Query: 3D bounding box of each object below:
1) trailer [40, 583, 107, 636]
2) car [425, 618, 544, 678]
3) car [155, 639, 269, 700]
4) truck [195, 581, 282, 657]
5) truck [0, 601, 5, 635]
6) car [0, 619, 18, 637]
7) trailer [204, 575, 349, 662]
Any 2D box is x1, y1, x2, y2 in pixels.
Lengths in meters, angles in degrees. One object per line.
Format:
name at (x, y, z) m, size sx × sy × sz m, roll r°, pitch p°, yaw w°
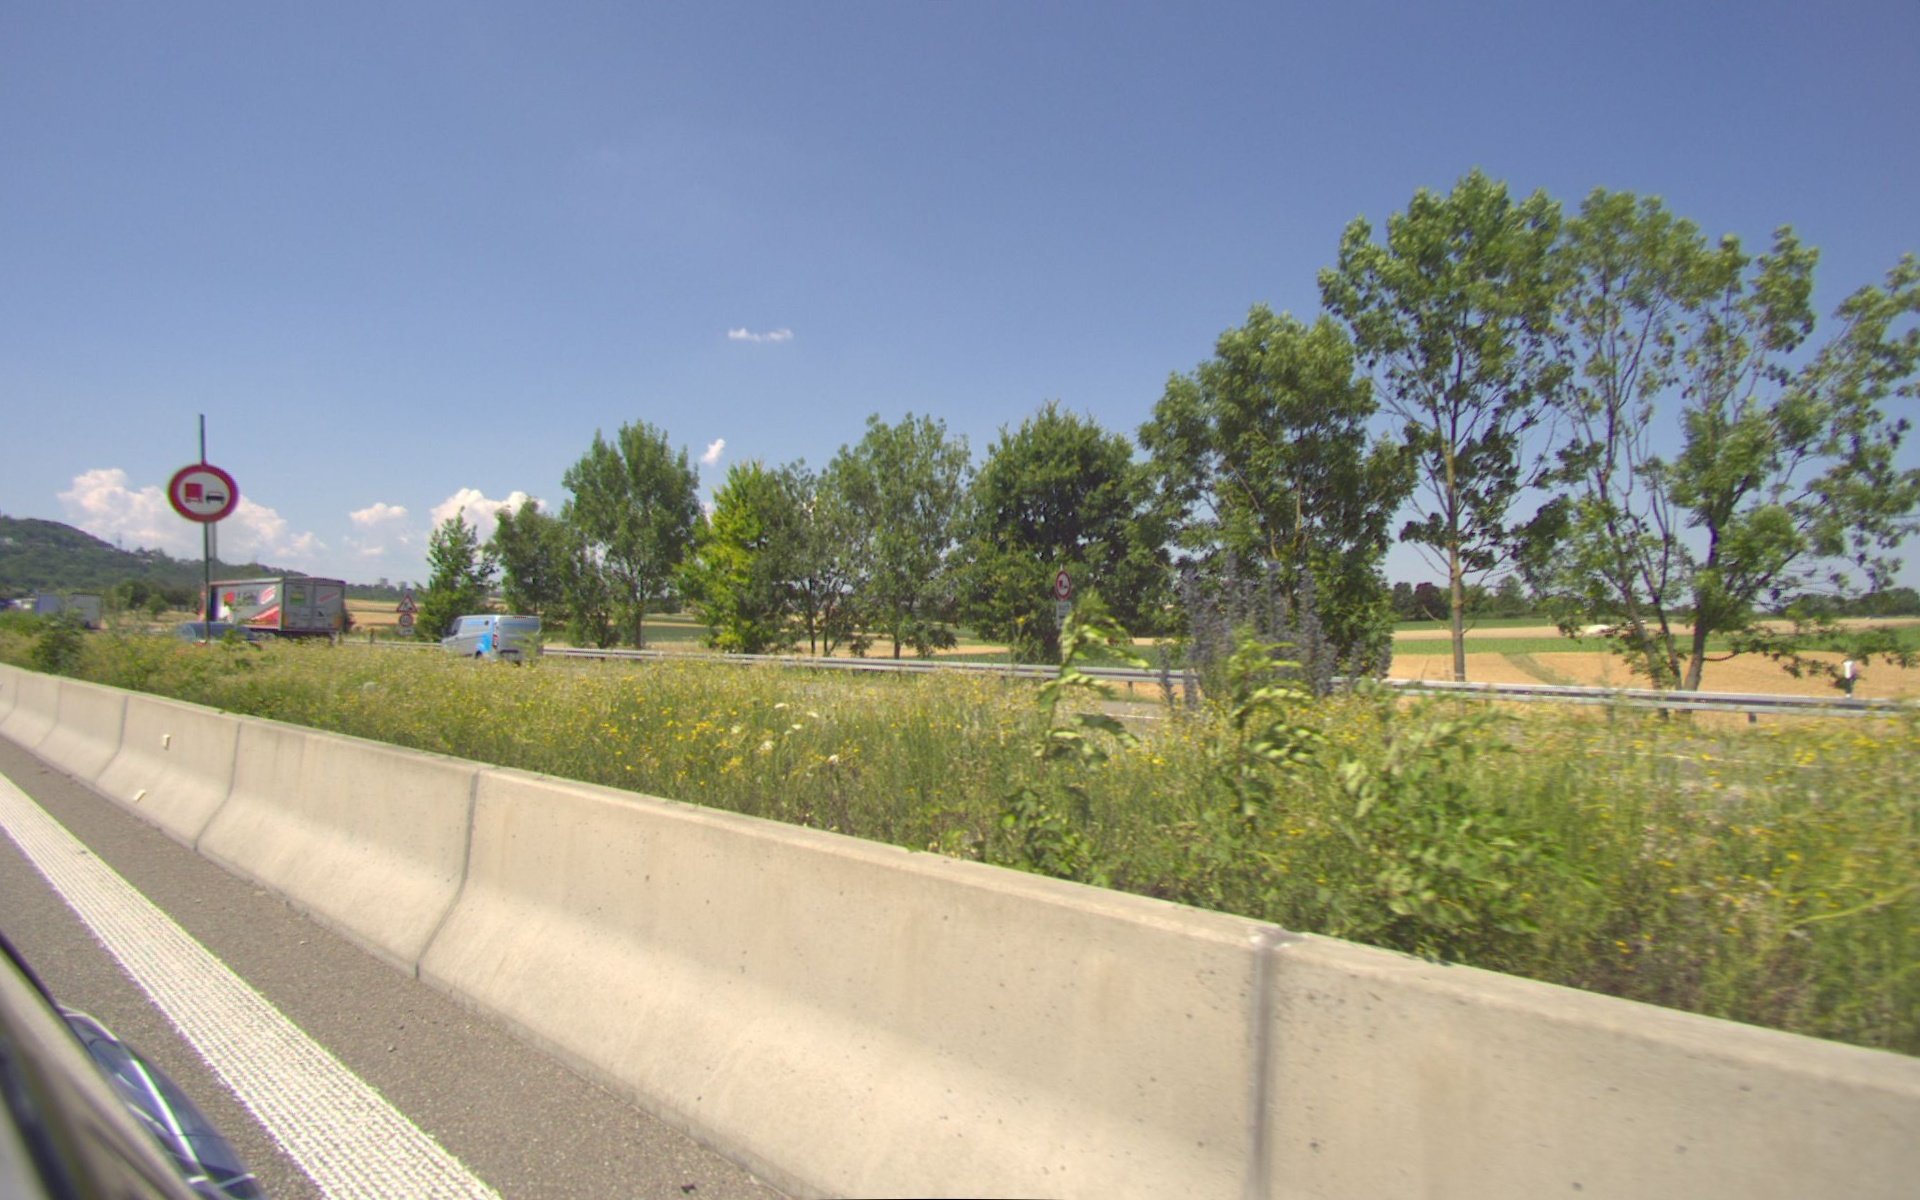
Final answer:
trailer at (-78.710, 0.918, 89.680) m, size 13.639 × 4.383 × 2.852 m, roll -1°, pitch -2°, yaw 42°
car at (-16.627, 1.637, 35.288) m, size 5.114 × 1.967 × 1.744 m, roll -1°, pitch -3°, yaw 40°
car at (-21.600, 1.939, 29.155) m, size 4.726 × 1.562 × 1.743 m, roll -1°, pitch -2°, yaw 42°
truck at (-38.559, 1.043, 54.072) m, size 3.998 × 3.885 × 2.826 m, roll -1°, pitch -3°, yaw 41°
truck at (-127.015, 2.336, 131.621) m, size 14.115 × 4.271 × 2.565 m, roll -1°, pitch -4°, yaw 41°
car at (-81.328, 2.363, 85.884) m, size 3.862 × 1.475 × 1.600 m, roll -1°, pitch -2°, yaw 40°
trailer at (-34.027, 0.957, 50.106) m, size 12.179 × 3.885 × 2.826 m, roll -1°, pitch -3°, yaw 41°
